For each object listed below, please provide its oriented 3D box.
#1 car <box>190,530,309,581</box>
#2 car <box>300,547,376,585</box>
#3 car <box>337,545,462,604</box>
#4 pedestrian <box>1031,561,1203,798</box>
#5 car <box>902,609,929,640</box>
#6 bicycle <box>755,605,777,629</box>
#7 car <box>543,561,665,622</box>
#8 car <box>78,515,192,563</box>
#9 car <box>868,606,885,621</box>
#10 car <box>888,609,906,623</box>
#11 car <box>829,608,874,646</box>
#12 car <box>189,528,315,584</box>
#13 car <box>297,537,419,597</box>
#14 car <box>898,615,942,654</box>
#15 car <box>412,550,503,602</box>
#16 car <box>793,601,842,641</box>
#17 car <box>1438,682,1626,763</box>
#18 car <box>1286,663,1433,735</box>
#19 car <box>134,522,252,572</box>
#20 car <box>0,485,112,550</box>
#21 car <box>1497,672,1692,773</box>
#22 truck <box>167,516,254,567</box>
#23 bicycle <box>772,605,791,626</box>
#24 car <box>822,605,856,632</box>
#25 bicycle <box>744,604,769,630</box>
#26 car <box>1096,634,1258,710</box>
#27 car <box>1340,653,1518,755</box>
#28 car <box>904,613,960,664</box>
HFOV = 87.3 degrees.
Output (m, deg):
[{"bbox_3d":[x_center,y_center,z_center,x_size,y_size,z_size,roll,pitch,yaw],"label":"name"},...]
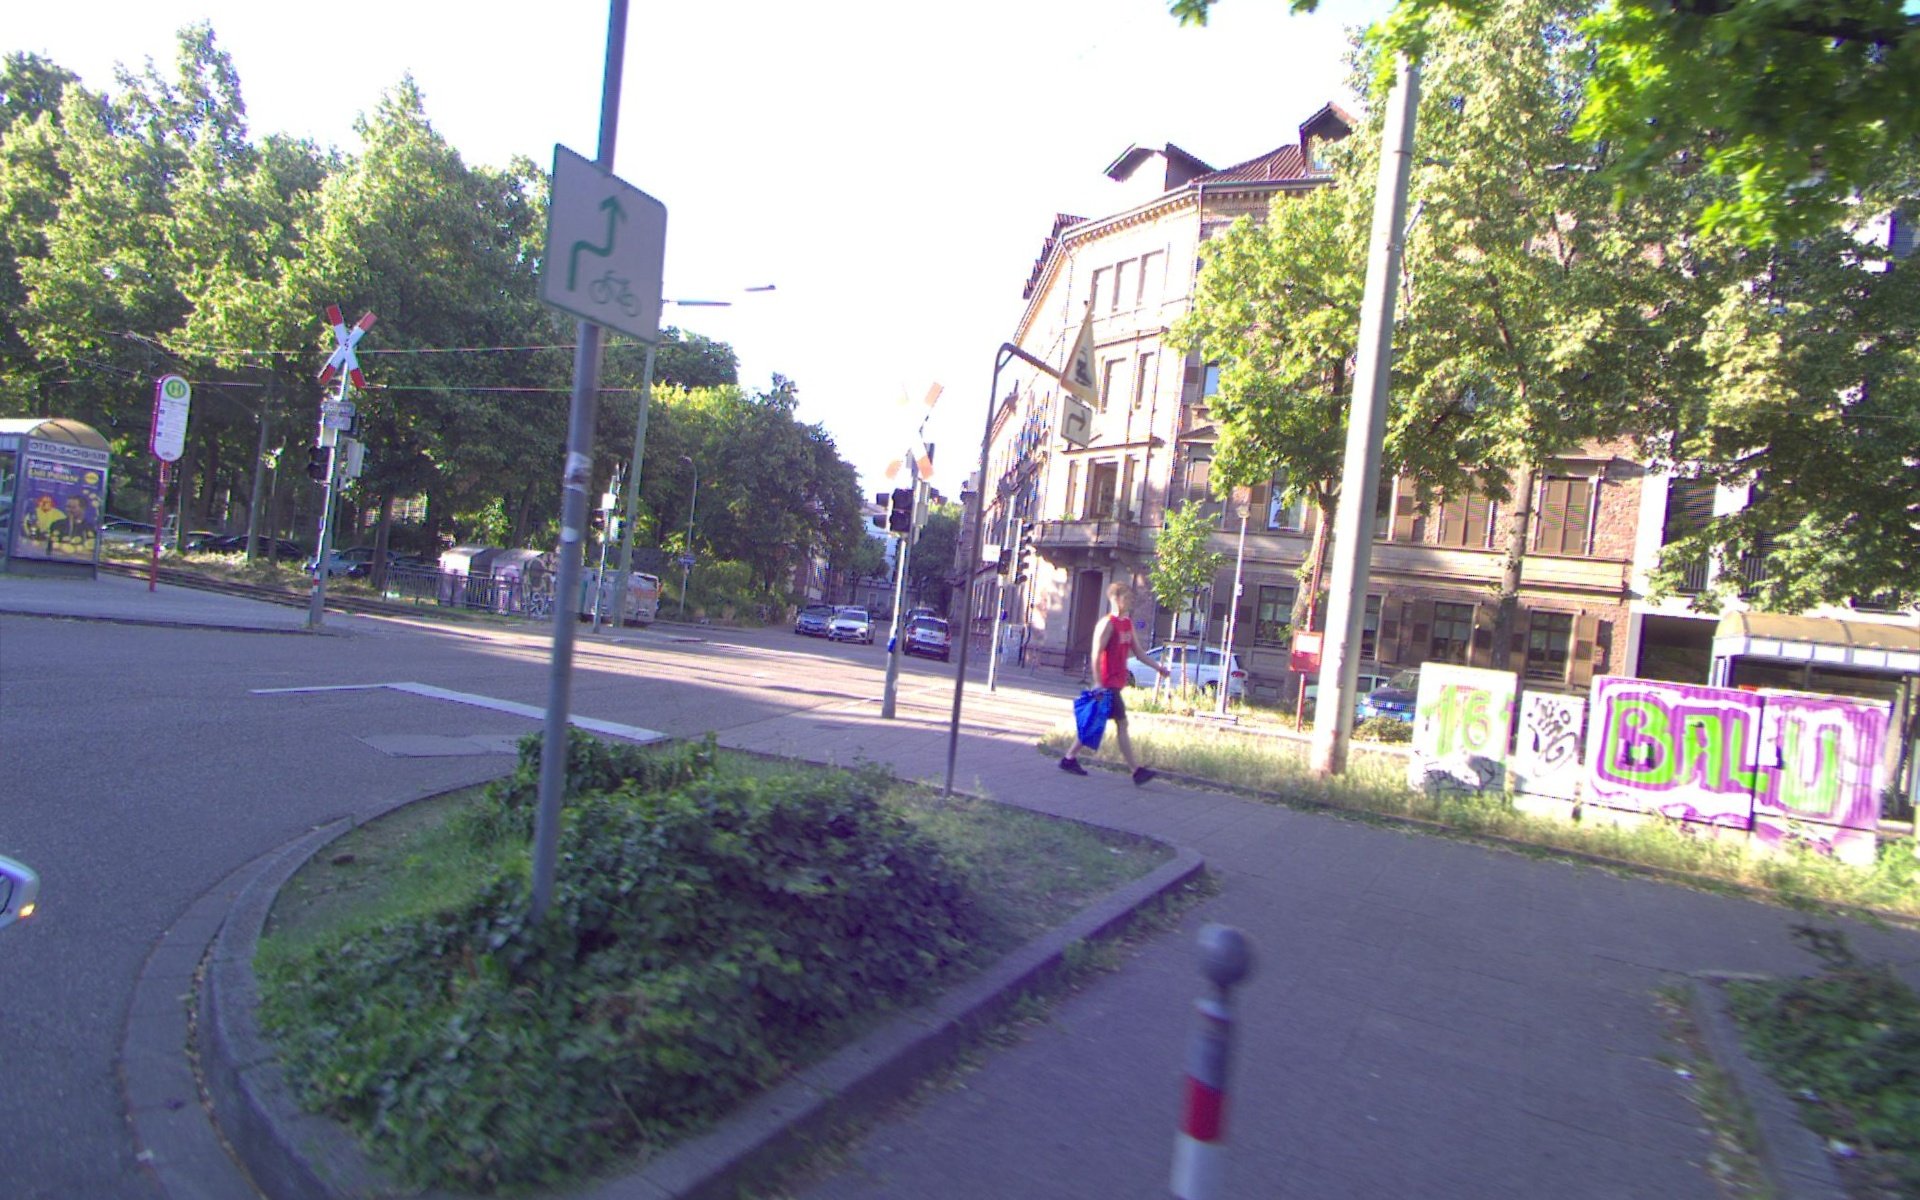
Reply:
[{"bbox_3d":[-29.478,-1.819,41.780,3.805,1.405,1.719,11,-5,-40],"label":"car"},{"bbox_3d":[-31.578,-1.714,51.051,3.537,1.485,1.575,6,-1,27],"label":"car"},{"bbox_3d":[-19.989,-0.909,35.929,3.591,1.463,1.592,11,-3,-36],"label":"car"},{"bbox_3d":[1.443,0.686,9.222,1.131,1.944,0.903,6,2,31],"label":"pedestrian"},{"bbox_3d":[-3.508,1.914,79.139,1.772,2.096,3.954,9,-1,-3],"label":"car"},{"bbox_3d":[-9.804,0.872,50.882,0.588,1.114,2.627,7,-1,-3],"label":"bicycle"},{"bbox_3d":[-15.065,-0.355,42.594,4.574,2.027,1.950,6,-1,23],"label":"car"},{"bbox_3d":[-37.583,-2.723,45.912,3.805,1.436,1.719,11,-5,-40],"label":"car"},{"bbox_3d":[-11.601,1.830,139.781,1.966,1.702,3.998,8,-3,-9],"label":"car"},{"bbox_3d":[-8.868,2.264,140.612,1.966,1.702,3.998,8,-3,-9],"label":"car"},{"bbox_3d":[-4.920,1.191,45.850,1.677,1.474,4.061,7,-1,-3],"label":"car"},{"bbox_3d":[-28.049,-1.705,39.908,3.805,1.512,1.719,11,-5,-40],"label":"car"},{"bbox_3d":[-22.271,-1.209,37.260,3.591,1.579,1.592,11,-3,-36],"label":"car"},{"bbox_3d":[-2.085,1.704,51.178,1.773,1.632,3.953,9,-1,-5],"label":"car"},{"bbox_3d":[-23.146,-1.125,46.298,3.832,1.926,1.575,6,-1,25],"label":"car"},{"bbox_3d":[-7.070,1.049,50.409,1.800,1.633,4.291,10,-1,-3],"label":"car"},{"bbox_3d":[15.261,3.279,27.098,4.089,1.505,1.744,6,-3,24],"label":"car"},{"bbox_3d":[11.380,2.834,28.816,3.656,1.505,1.744,7,-3,21],"label":"car"},{"bbox_3d":[-32.604,-2.199,42.799,3.805,1.405,1.719,11,-5,-40],"label":"car"},{"bbox_3d":[-47.474,-4.266,52.436,4.453,2.502,1.808,10,-4,-29],"label":"car"},{"bbox_3d":[13.161,2.537,20.766,4.516,1.654,1.909,7,0,-38],"label":"car"},{"bbox_3d":[-42.942,-3.333,57.619,4.311,2.381,2.370,6,-1,31],"label":"truck"},{"bbox_3d":[-10.170,0.887,57.386,0.588,1.114,2.627,7,-1,-1],"label":"bicycle"},{"bbox_3d":[-8.243,1.296,69.000,1.800,1.517,3.931,10,-1,-3],"label":"car"},{"bbox_3d":[-9.708,0.830,48.165,0.587,1.114,2.628,7,-1,-1],"label":"bicycle"},{"bbox_3d":[6.627,2.197,30.741,4.416,1.667,1.877,6,-3,23],"label":"car"},{"bbox_3d":[10.166,2.270,21.653,4.390,1.706,1.722,10,-2,-41],"label":"car"},{"bbox_3d":[-1.182,1.554,40.980,1.889,1.675,4.186,10,-2,-3],"label":"car"}]
